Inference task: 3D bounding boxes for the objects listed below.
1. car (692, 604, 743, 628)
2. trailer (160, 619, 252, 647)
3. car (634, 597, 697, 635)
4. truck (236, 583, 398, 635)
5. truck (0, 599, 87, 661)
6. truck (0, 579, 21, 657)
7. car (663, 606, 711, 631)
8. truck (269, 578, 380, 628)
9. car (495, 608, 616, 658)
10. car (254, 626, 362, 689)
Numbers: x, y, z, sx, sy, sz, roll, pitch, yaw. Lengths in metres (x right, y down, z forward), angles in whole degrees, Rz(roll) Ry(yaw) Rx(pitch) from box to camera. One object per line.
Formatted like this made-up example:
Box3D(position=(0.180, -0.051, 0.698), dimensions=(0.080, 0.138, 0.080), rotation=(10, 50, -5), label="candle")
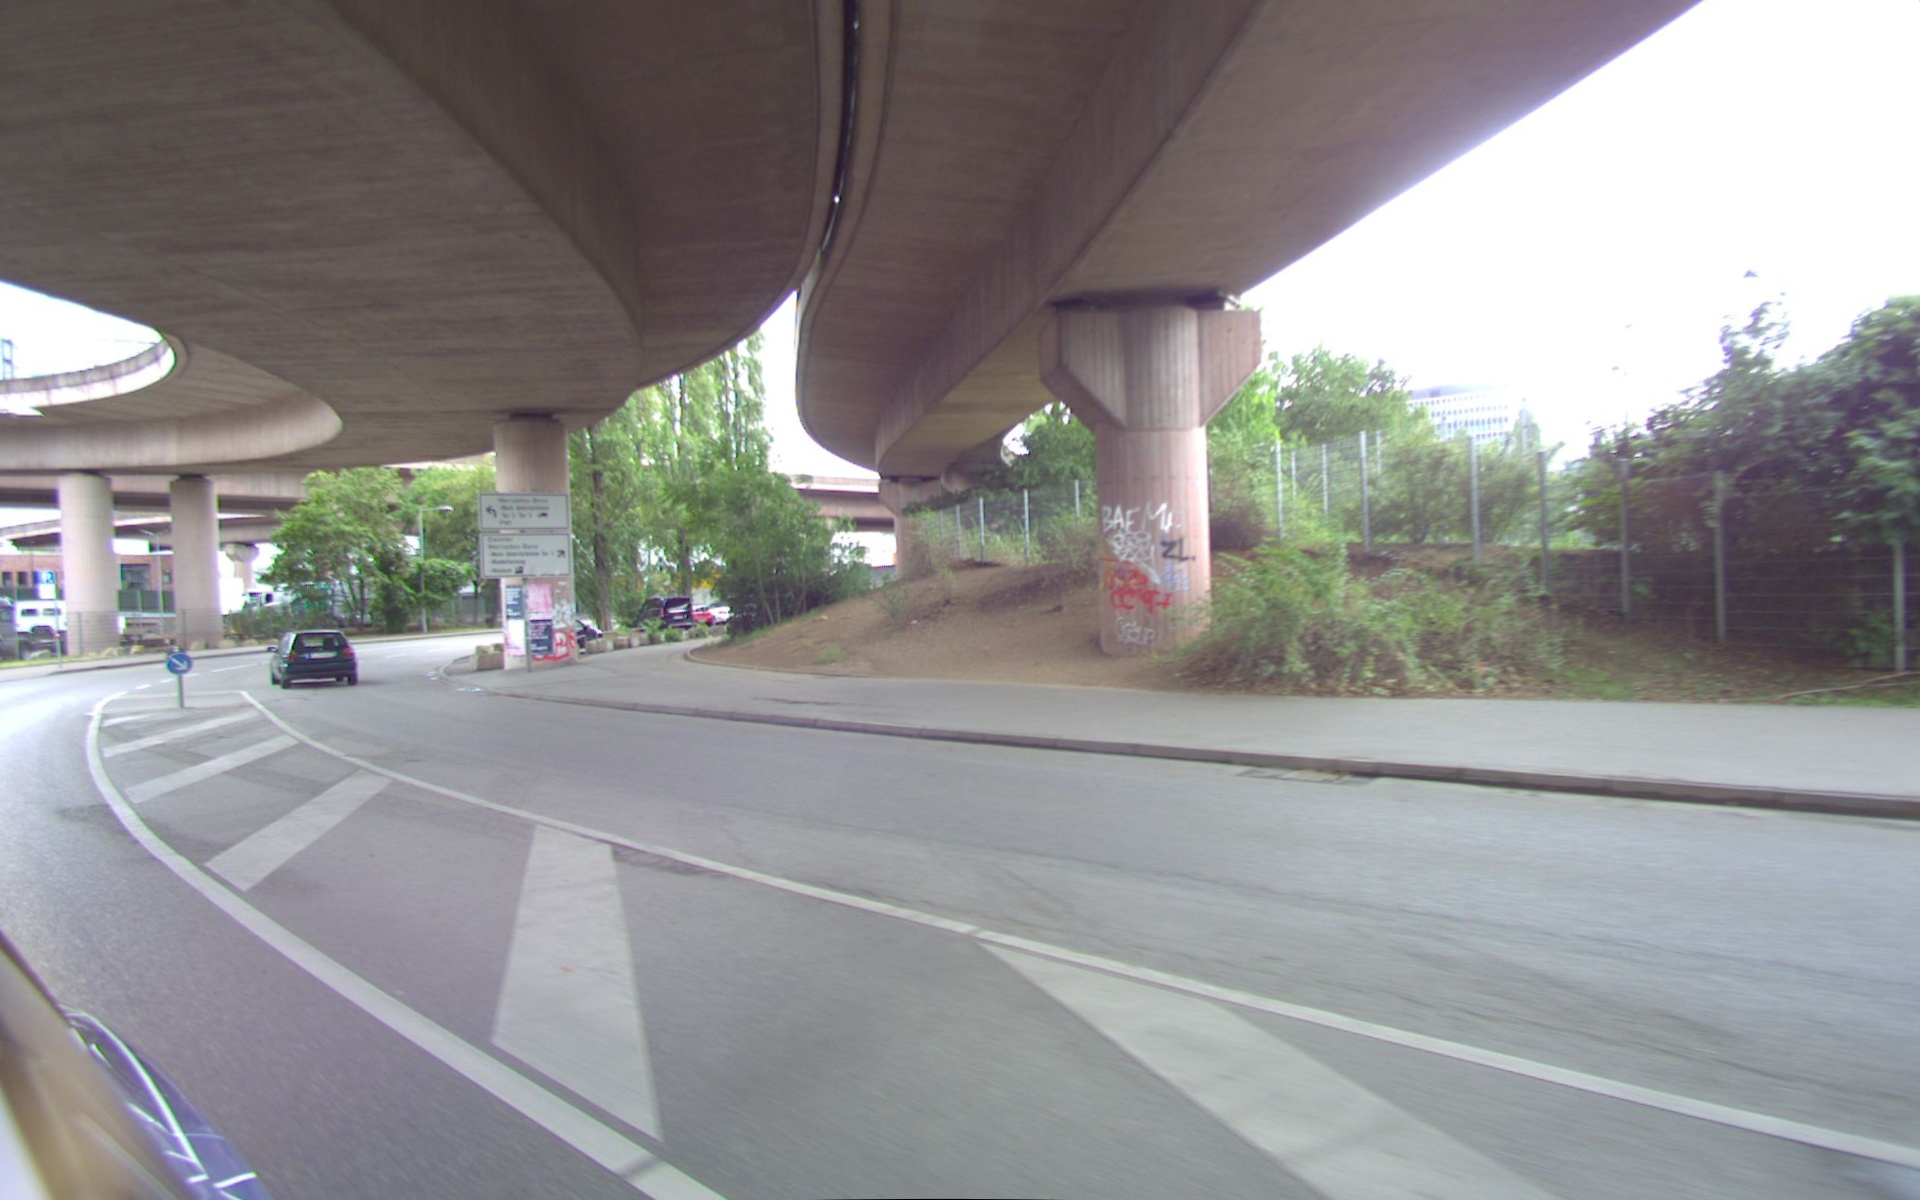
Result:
Box3D(position=(-15.099, 0.950, 62.953), dimensions=(1.668, 1.374, 4.529), rotation=(-2, 1, -33), label="car")
Box3D(position=(-42.216, 1.850, 56.812), dimensions=(1.586, 1.341, 4.374), rotation=(-1, 1, 6), label="trailer")
Box3D(position=(-16.339, 0.859, 56.014), dimensions=(1.826, 1.931, 4.986), rotation=(-2, 1, -34), label="car")
Box3D(position=(-47.490, 0.559, 75.153), dimensions=(2.264, 3.524, 10.101), rotation=(-1, 1, 33), label="truck")
Box3D(position=(-44.735, 1.423, 47.698), dimensions=(2.384, 2.764, 7.256), rotation=(-2, 0, -15), label="truck")
Box3D(position=(-58.088, 1.184, 54.736), dimensions=(3.901, 4.399, 10.025), rotation=(-3, 0, 32), label="truck")
Box3D(position=(-16.150, 1.056, 59.739), dimensions=(1.539, 1.390, 3.715), rotation=(-2, 1, -34), label="car")
Box3D(position=(-45.482, 0.150, 72.585), dimensions=(2.266, 3.434, 6.335), rotation=(-1, 1, 36), label="truck")
Box3D(position=(-14.193, 1.128, 35.842), dimensions=(1.807, 1.441, 4.763), rotation=(-4, 0, 7), label="car")
Box3D(position=(-16.890, 1.426, 26.149), dimensions=(1.656, 1.441, 4.004), rotation=(-2, 0, -43), label="car")
